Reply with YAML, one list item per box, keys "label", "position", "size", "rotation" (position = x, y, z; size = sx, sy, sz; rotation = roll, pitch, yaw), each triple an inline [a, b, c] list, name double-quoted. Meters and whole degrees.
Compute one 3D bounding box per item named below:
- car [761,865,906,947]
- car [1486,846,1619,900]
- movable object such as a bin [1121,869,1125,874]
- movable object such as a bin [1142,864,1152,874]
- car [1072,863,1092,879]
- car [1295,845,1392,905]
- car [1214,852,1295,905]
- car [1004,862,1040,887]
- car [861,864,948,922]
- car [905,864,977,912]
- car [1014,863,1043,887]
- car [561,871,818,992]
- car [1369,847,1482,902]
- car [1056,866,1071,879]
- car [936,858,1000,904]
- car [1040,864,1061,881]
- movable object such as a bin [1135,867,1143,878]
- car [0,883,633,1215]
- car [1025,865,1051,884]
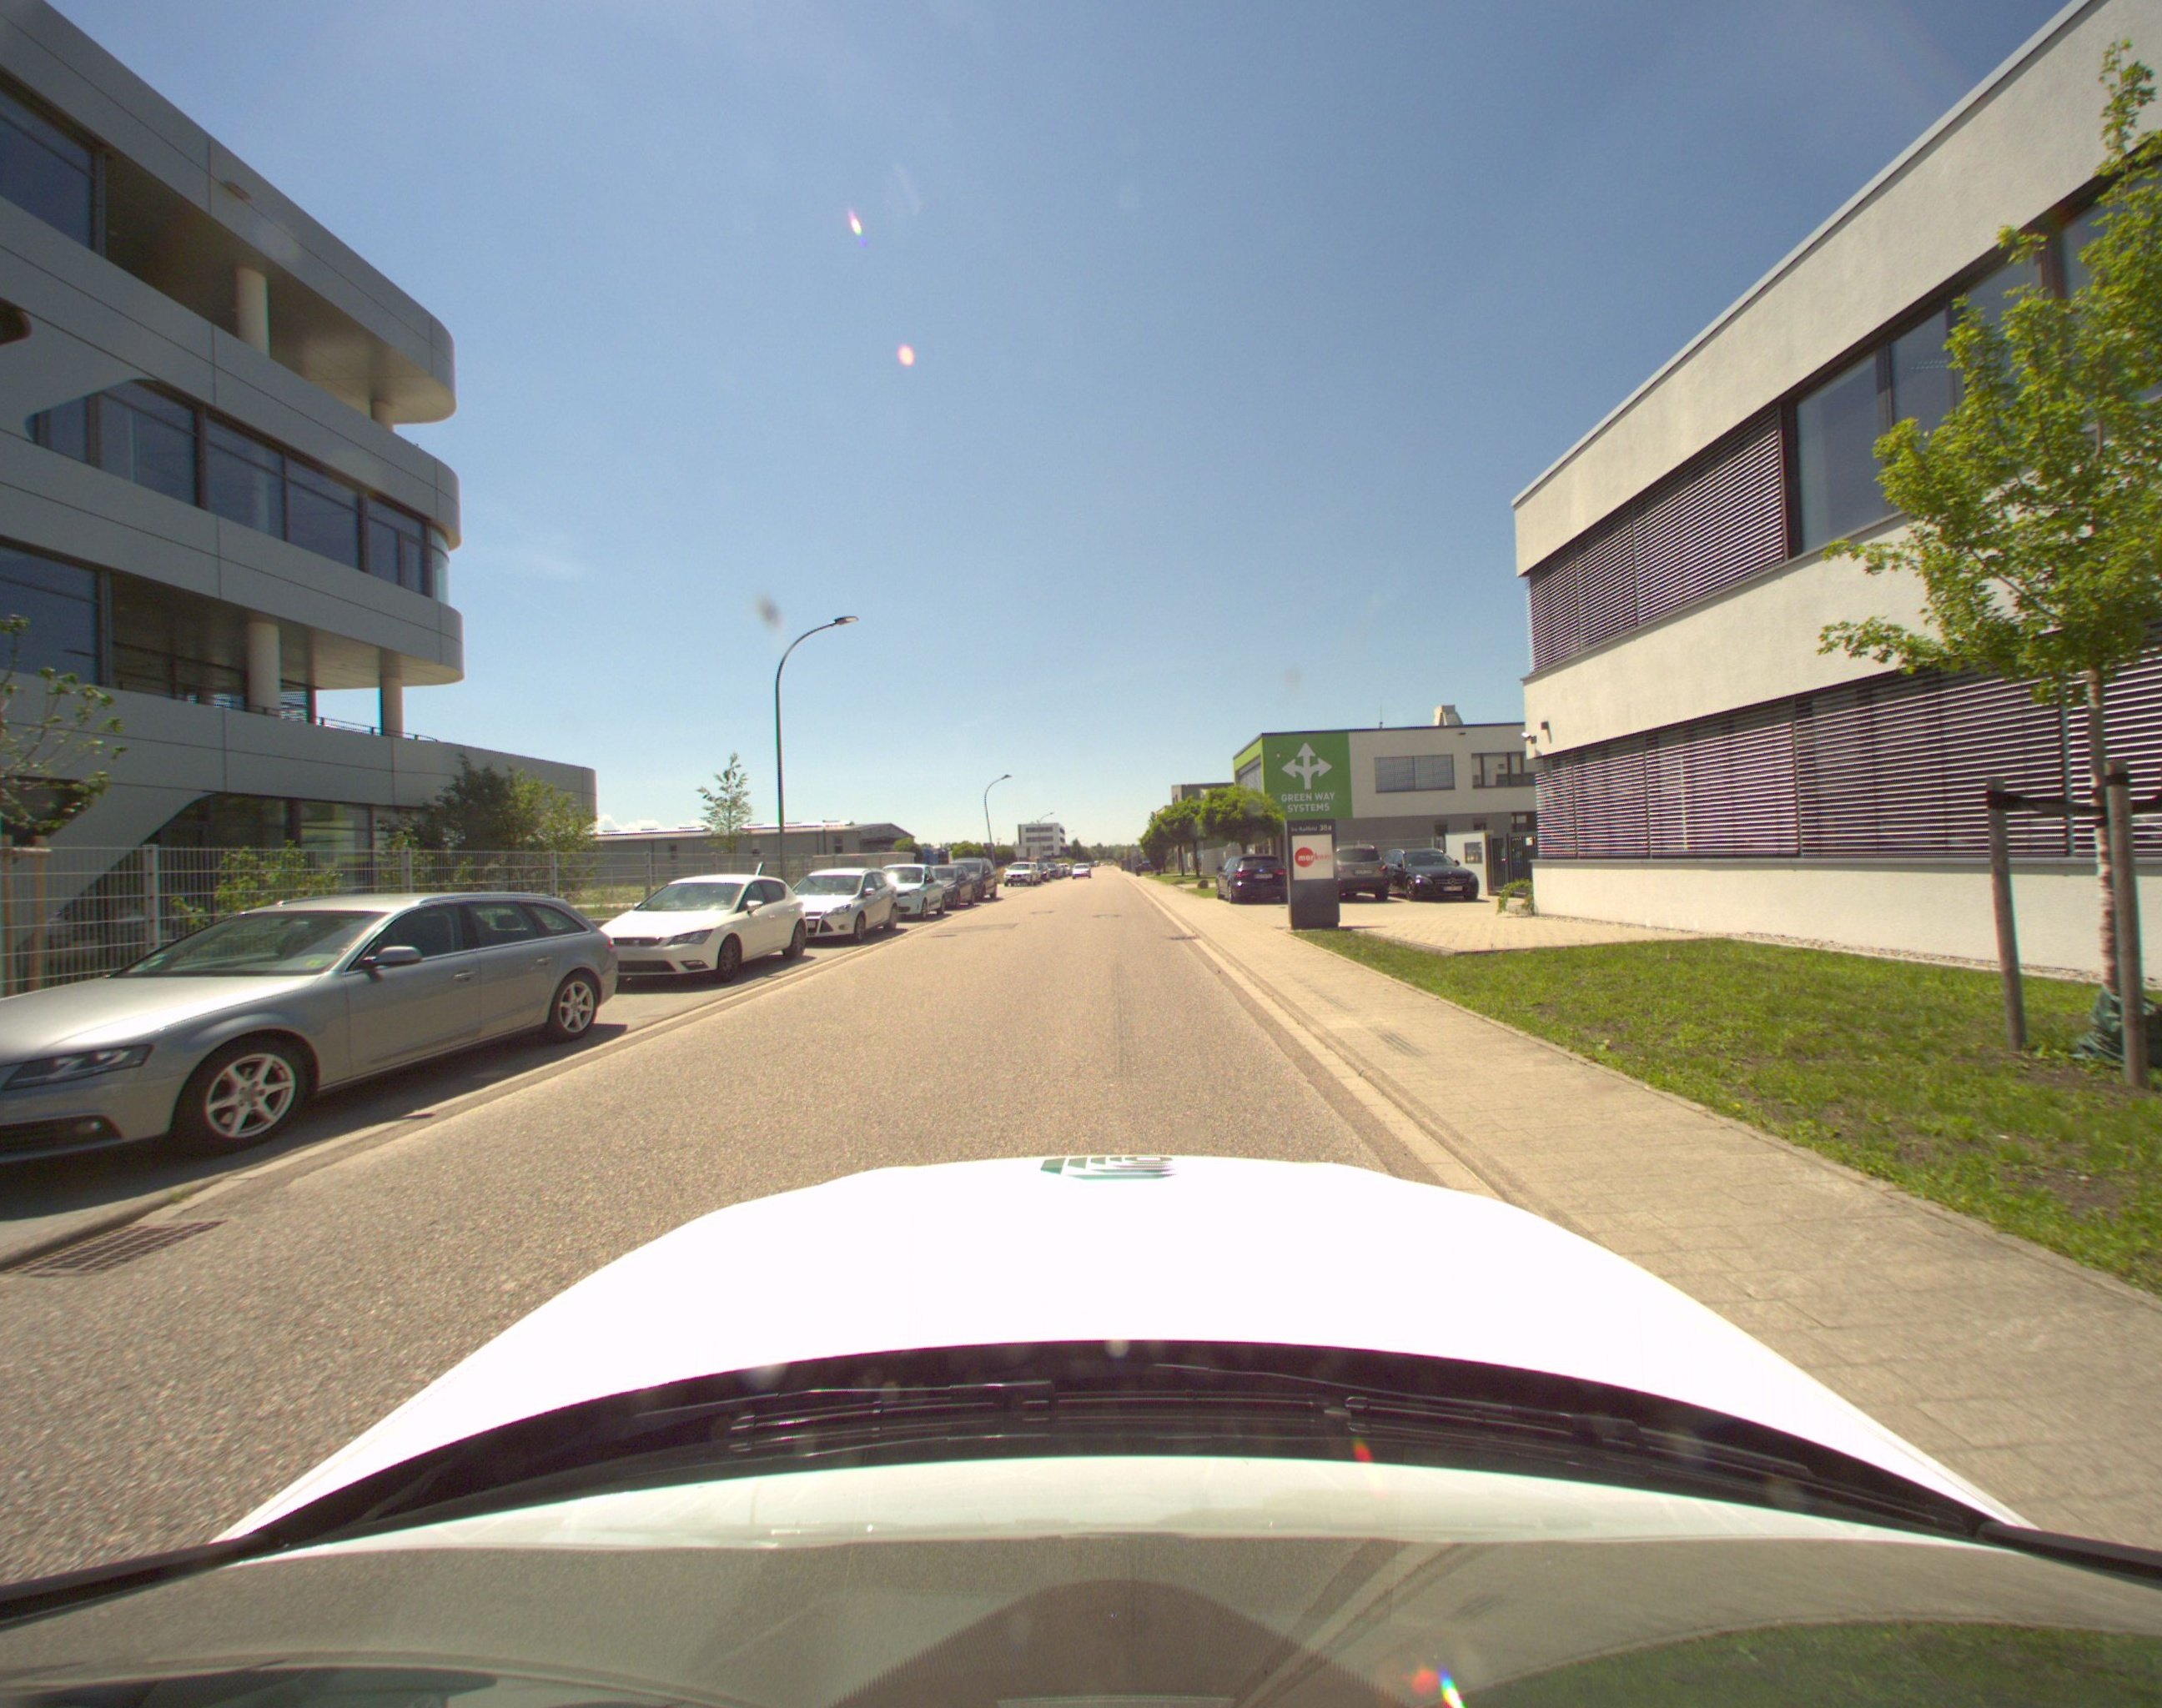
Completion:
- label: "car"
  position: [-5.226, 1.027, 17.883]
  size: [1.697, 1.536, 4.572]
  rotation: [-1, -1, 1]
- label: "car"
  position: [13.862, 0.540, 24.243]
  size: [1.716, 1.436, 4.024]
  rotation: [-1, -1, 2]
- label: "movable object such as a bin"
  position: [8.389, 3.457, 162.618]
  size: [0.549, 0.928, 0.522]
  rotation: [-6, 0, 6]
- label: "movable object such as a bin"
  position: [9.742, 2.263, 120.827]
  size: [1.329, 1.459, 0.949]
  rotation: [-3, -1, 1]
- label: "car"
  position: [0.108, 1.610, 77.985]
  size: [1.698, 1.411, 4.785]
  rotation: [-4, -1, 2]
- label: "car"
  position: [7.777, 0.608, 24.479]
  size: [1.716, 1.633, 4.024]
  rotation: [-1, -1, 2]
- label: "car"
  position: [5.177, 0.705, 24.785]
  size: [1.686, 1.428, 4.247]
  rotation: [-1, -1, 2]
- label: "car"
  position: [-3.851, 1.347, 53.734]
  size: [1.779, 1.542, 4.368]
  rotation: [-1, -1, 4]
- label: "car"
  position: [-5.009, 1.064, 23.558]
  size: [1.629, 1.536, 3.658]
  rotation: [-1, -1, 1]
- label: "car"
  position: [-4.797, 1.132, 28.478]
  size: [1.628, 1.500, 3.974]
  rotation: [-1, -1, 3]
- label: "car"
  position: [-3.776, 1.484, 58.966]
  size: [1.781, 1.656, 3.768]
  rotation: [-1, -1, 1]
- label: "car"
  position: [-5.611, 1.014, 12.399]
  size: [1.697, 1.444, 4.440]
  rotation: [-1, -1, 1]
- label: "car"
  position: [10.002, 0.585, 23.963]
  size: [1.716, 1.449, 4.024]
  rotation: [-1, -1, 2]
- label: "car"
  position: [-2.181, 2.334, 104.904]
  size: [1.763, 1.592, 4.360]
  rotation: [-1, -1, 1]
- label: "car"
  position: [-4.547, 1.061, 33.414]
  size: [1.796, 1.720, 4.624]
  rotation: [-1, -1, 2]
- label: "car"
  position: [-2.928, 1.840, 79.711]
  size: [1.784, 1.607, 4.463]
  rotation: [-1, -1, 1]
- label: "movable object such as a bin"
  position: [5.257, 1.675, 74.193]
  size: [0.548, 0.928, 0.523]
  rotation: [-6, -2, 11]
- label: "car"
  position: [-5.610, 1.019, 6.168]
  size: [1.677, 1.386, 4.642]
  rotation: [-2, 0, 2]
- label: "car"
  position: [-3.448, 1.655, 66.497]
  size: [1.756, 1.517, 4.381]
  rotation: [-1, -1, 1]
